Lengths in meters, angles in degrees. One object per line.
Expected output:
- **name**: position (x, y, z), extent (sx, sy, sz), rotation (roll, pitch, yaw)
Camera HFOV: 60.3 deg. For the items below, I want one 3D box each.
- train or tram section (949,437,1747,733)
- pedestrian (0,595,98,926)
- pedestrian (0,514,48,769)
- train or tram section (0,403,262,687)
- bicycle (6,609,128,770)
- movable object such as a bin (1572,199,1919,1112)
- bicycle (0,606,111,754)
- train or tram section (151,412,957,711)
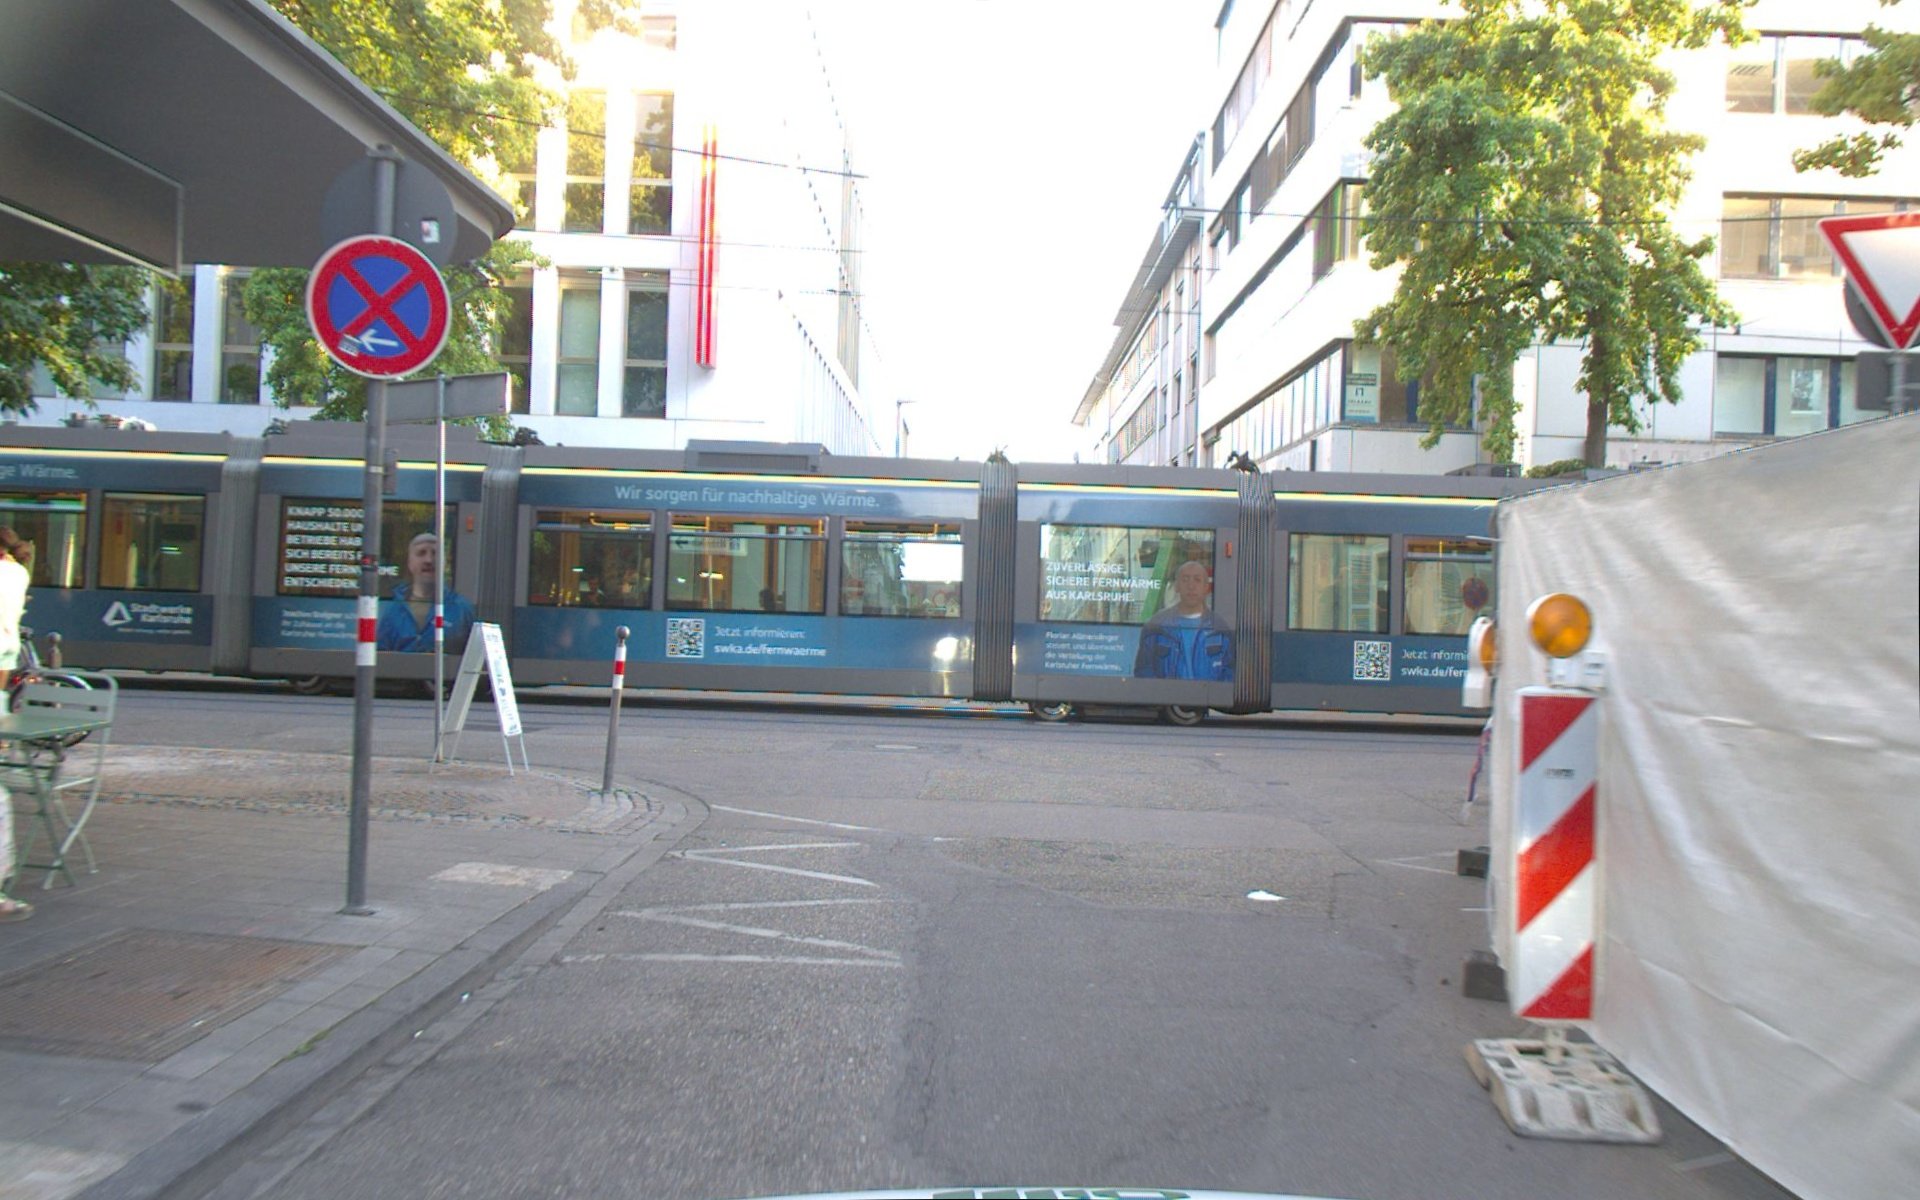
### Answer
- **train or tram section**: position (4.961, -0.181, 22.581), extent (10.124, 3.585, 3.026), rotation (1, -1, 0)
- **pedestrian**: position (-3.952, 0.605, 6.416), extent (0.693, 1.240, 0.838), rotation (2, 0, 38)
- **pedestrian**: position (-6.922, 0.292, 11.852), extent (0.633, 1.772, 0.773), rotation (1, -1, -30)
- **train or tram section**: position (-15.523, -0.782, 22.603), extent (10.587, 3.585, 3.013), rotation (1, -1, 0)
- **bicycle**: position (-6.974, 0.664, 12.992), extent (0.769, 1.159, 1.850), rotation (1, -1, -27)
- **movable object such as a bin**: position (4.367, 0.185, 5.341), extent (2.582, 2.923, 5.563), rotation (1, 0, -2)
- **bicycle**: position (-7.827, 0.633, 13.748), extent (0.612, 1.159, 1.866), rotation (1, -1, -2)
- **train or tram section**: position (-5.166, -0.469, 22.580), extent (10.155, 3.585, 3.017), rotation (1, -1, 0)
